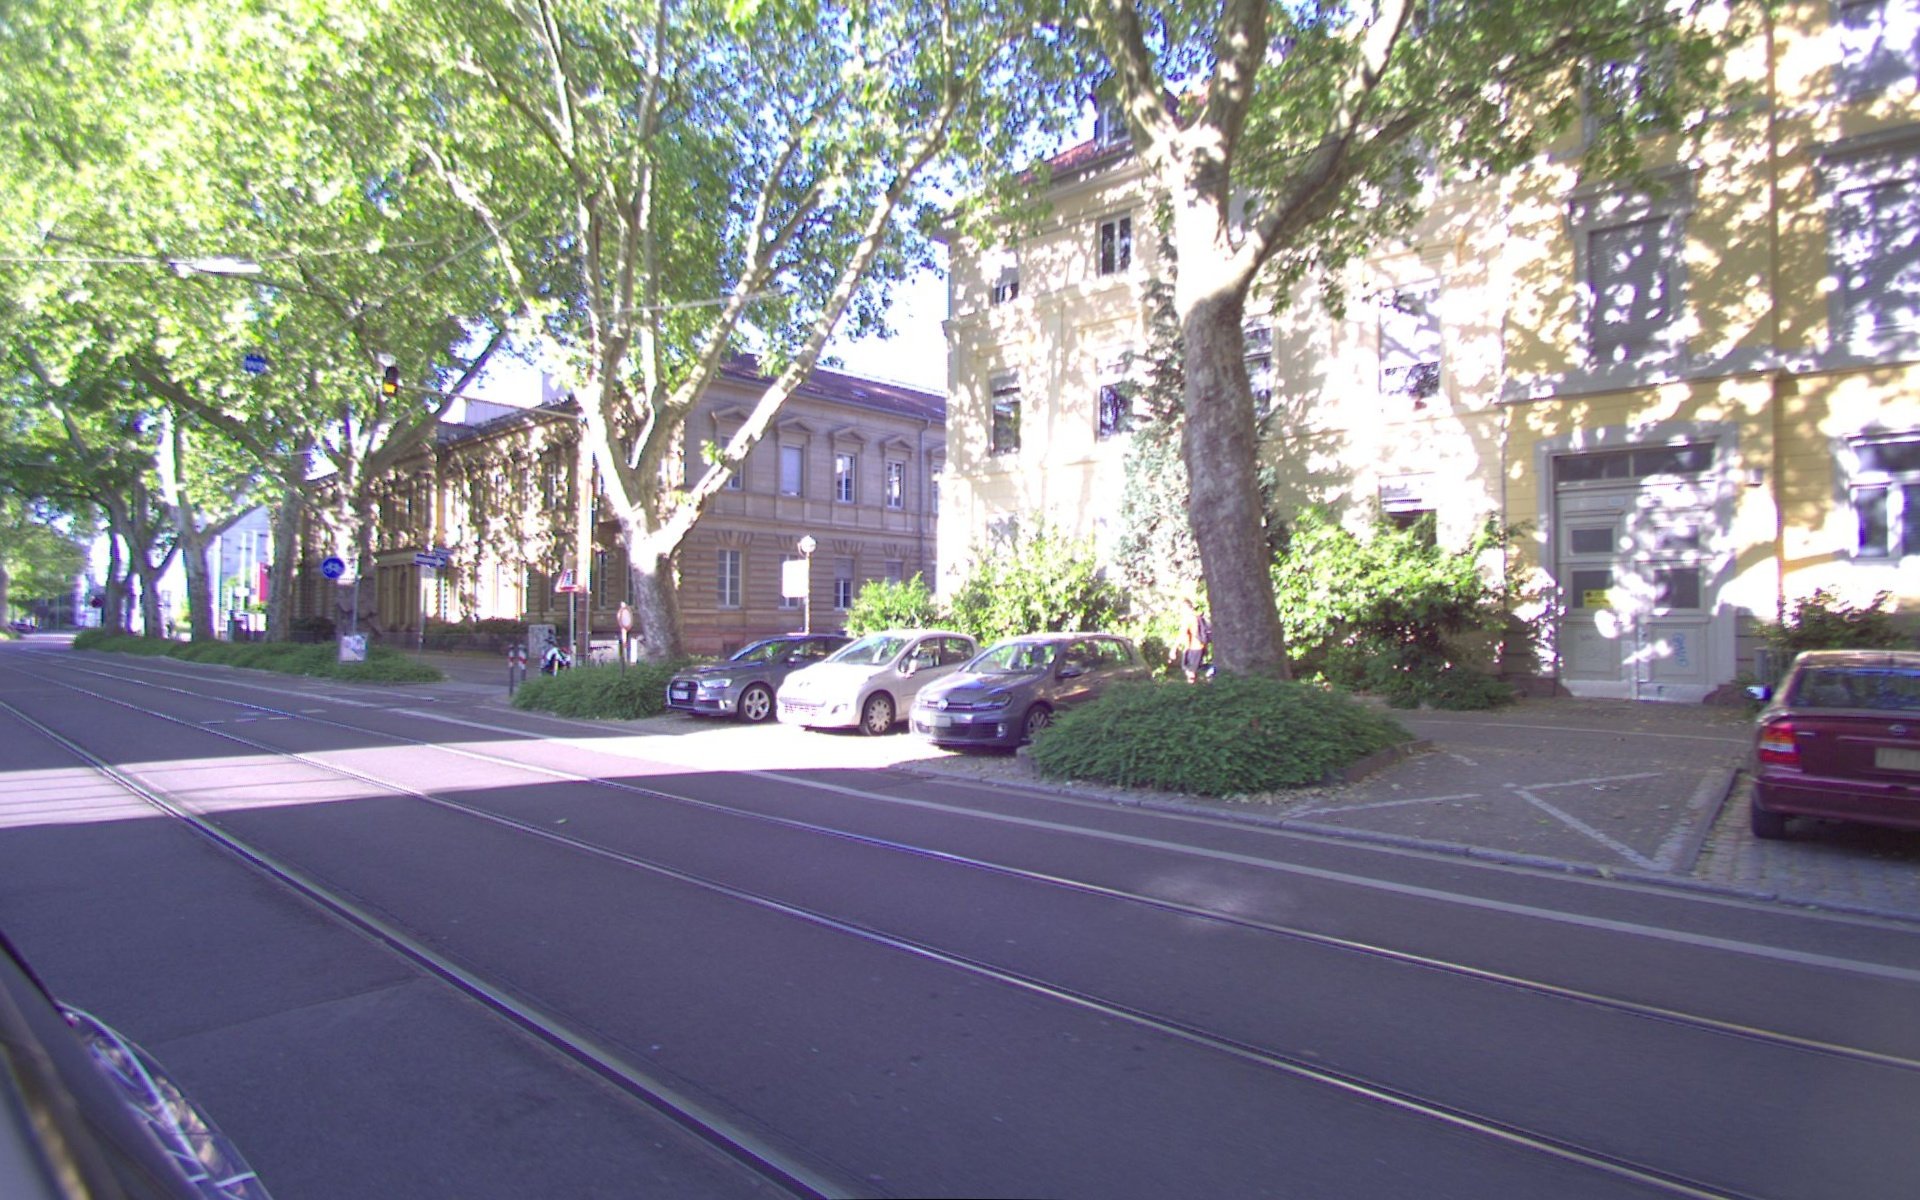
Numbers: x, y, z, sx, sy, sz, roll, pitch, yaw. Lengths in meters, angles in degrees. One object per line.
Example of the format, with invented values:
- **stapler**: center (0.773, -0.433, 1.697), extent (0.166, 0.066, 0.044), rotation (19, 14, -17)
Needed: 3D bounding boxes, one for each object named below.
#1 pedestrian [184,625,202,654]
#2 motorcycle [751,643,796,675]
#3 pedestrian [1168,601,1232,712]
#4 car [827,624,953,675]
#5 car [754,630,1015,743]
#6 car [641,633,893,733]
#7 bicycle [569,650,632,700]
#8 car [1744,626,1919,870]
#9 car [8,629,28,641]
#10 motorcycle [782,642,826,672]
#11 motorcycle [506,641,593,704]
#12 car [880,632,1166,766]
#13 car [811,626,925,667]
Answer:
- **pedestrian**: center (-50.001, 2.586, 65.972), extent (0.837, 1.863, 0.711), rotation (-1, -2, 40)
- **motorcycle**: center (-6.419, 2.008, 34.716), extent (0.710, 0.984, 1.959), rotation (-1, 0, -37)
- **pedestrian**: center (4.181, 0.963, 17.644), extent (0.835, 1.863, 0.858), rotation (-1, -1, 34)
- **car**: center (-2.111, 1.524, 31.149), extent (1.693, 1.429, 3.736), rotation (-5, -5, 41)
- **car**: center (-1.043, 1.215, 15.549), extent (1.799, 1.464, 3.881), rotation (-1, -2, 40)
- **car**: center (-3.160, 1.300, 17.098), extent (1.847, 1.342, 3.879), rotation (-1, 0, 41)
- **bicycle**: center (-7.480, 1.528, 21.015), extent (0.534, 0.948, 2.037), rotation (1, -2, -41)
- **car**: center (7.427, 0.993, 7.981), extent (1.748, 1.452, 3.879), rotation (-1, 0, 41)
- **car**: center (-124.645, 4.655, 133.870), extent (1.845, 1.642, 4.563), rotation (2, -3, -44)
- **motorcycle**: center (-5.487, 1.985, 35.518), extent (0.710, 0.984, 1.959), rotation (-1, 0, -37)
- **motorcycle**: center (-8.243, 1.417, 20.253), extent (0.873, 1.156, 2.394), rotation (1, -2, -41)
- **car**: center (0.958, 1.168, 13.416), extent (1.805, 1.473, 3.879), rotation (-1, -2, 41)
- **car**: center (-3.397, 1.688, 37.564), extent (3.871, 1.342, 1.850), rotation (-1, 0, -41)
